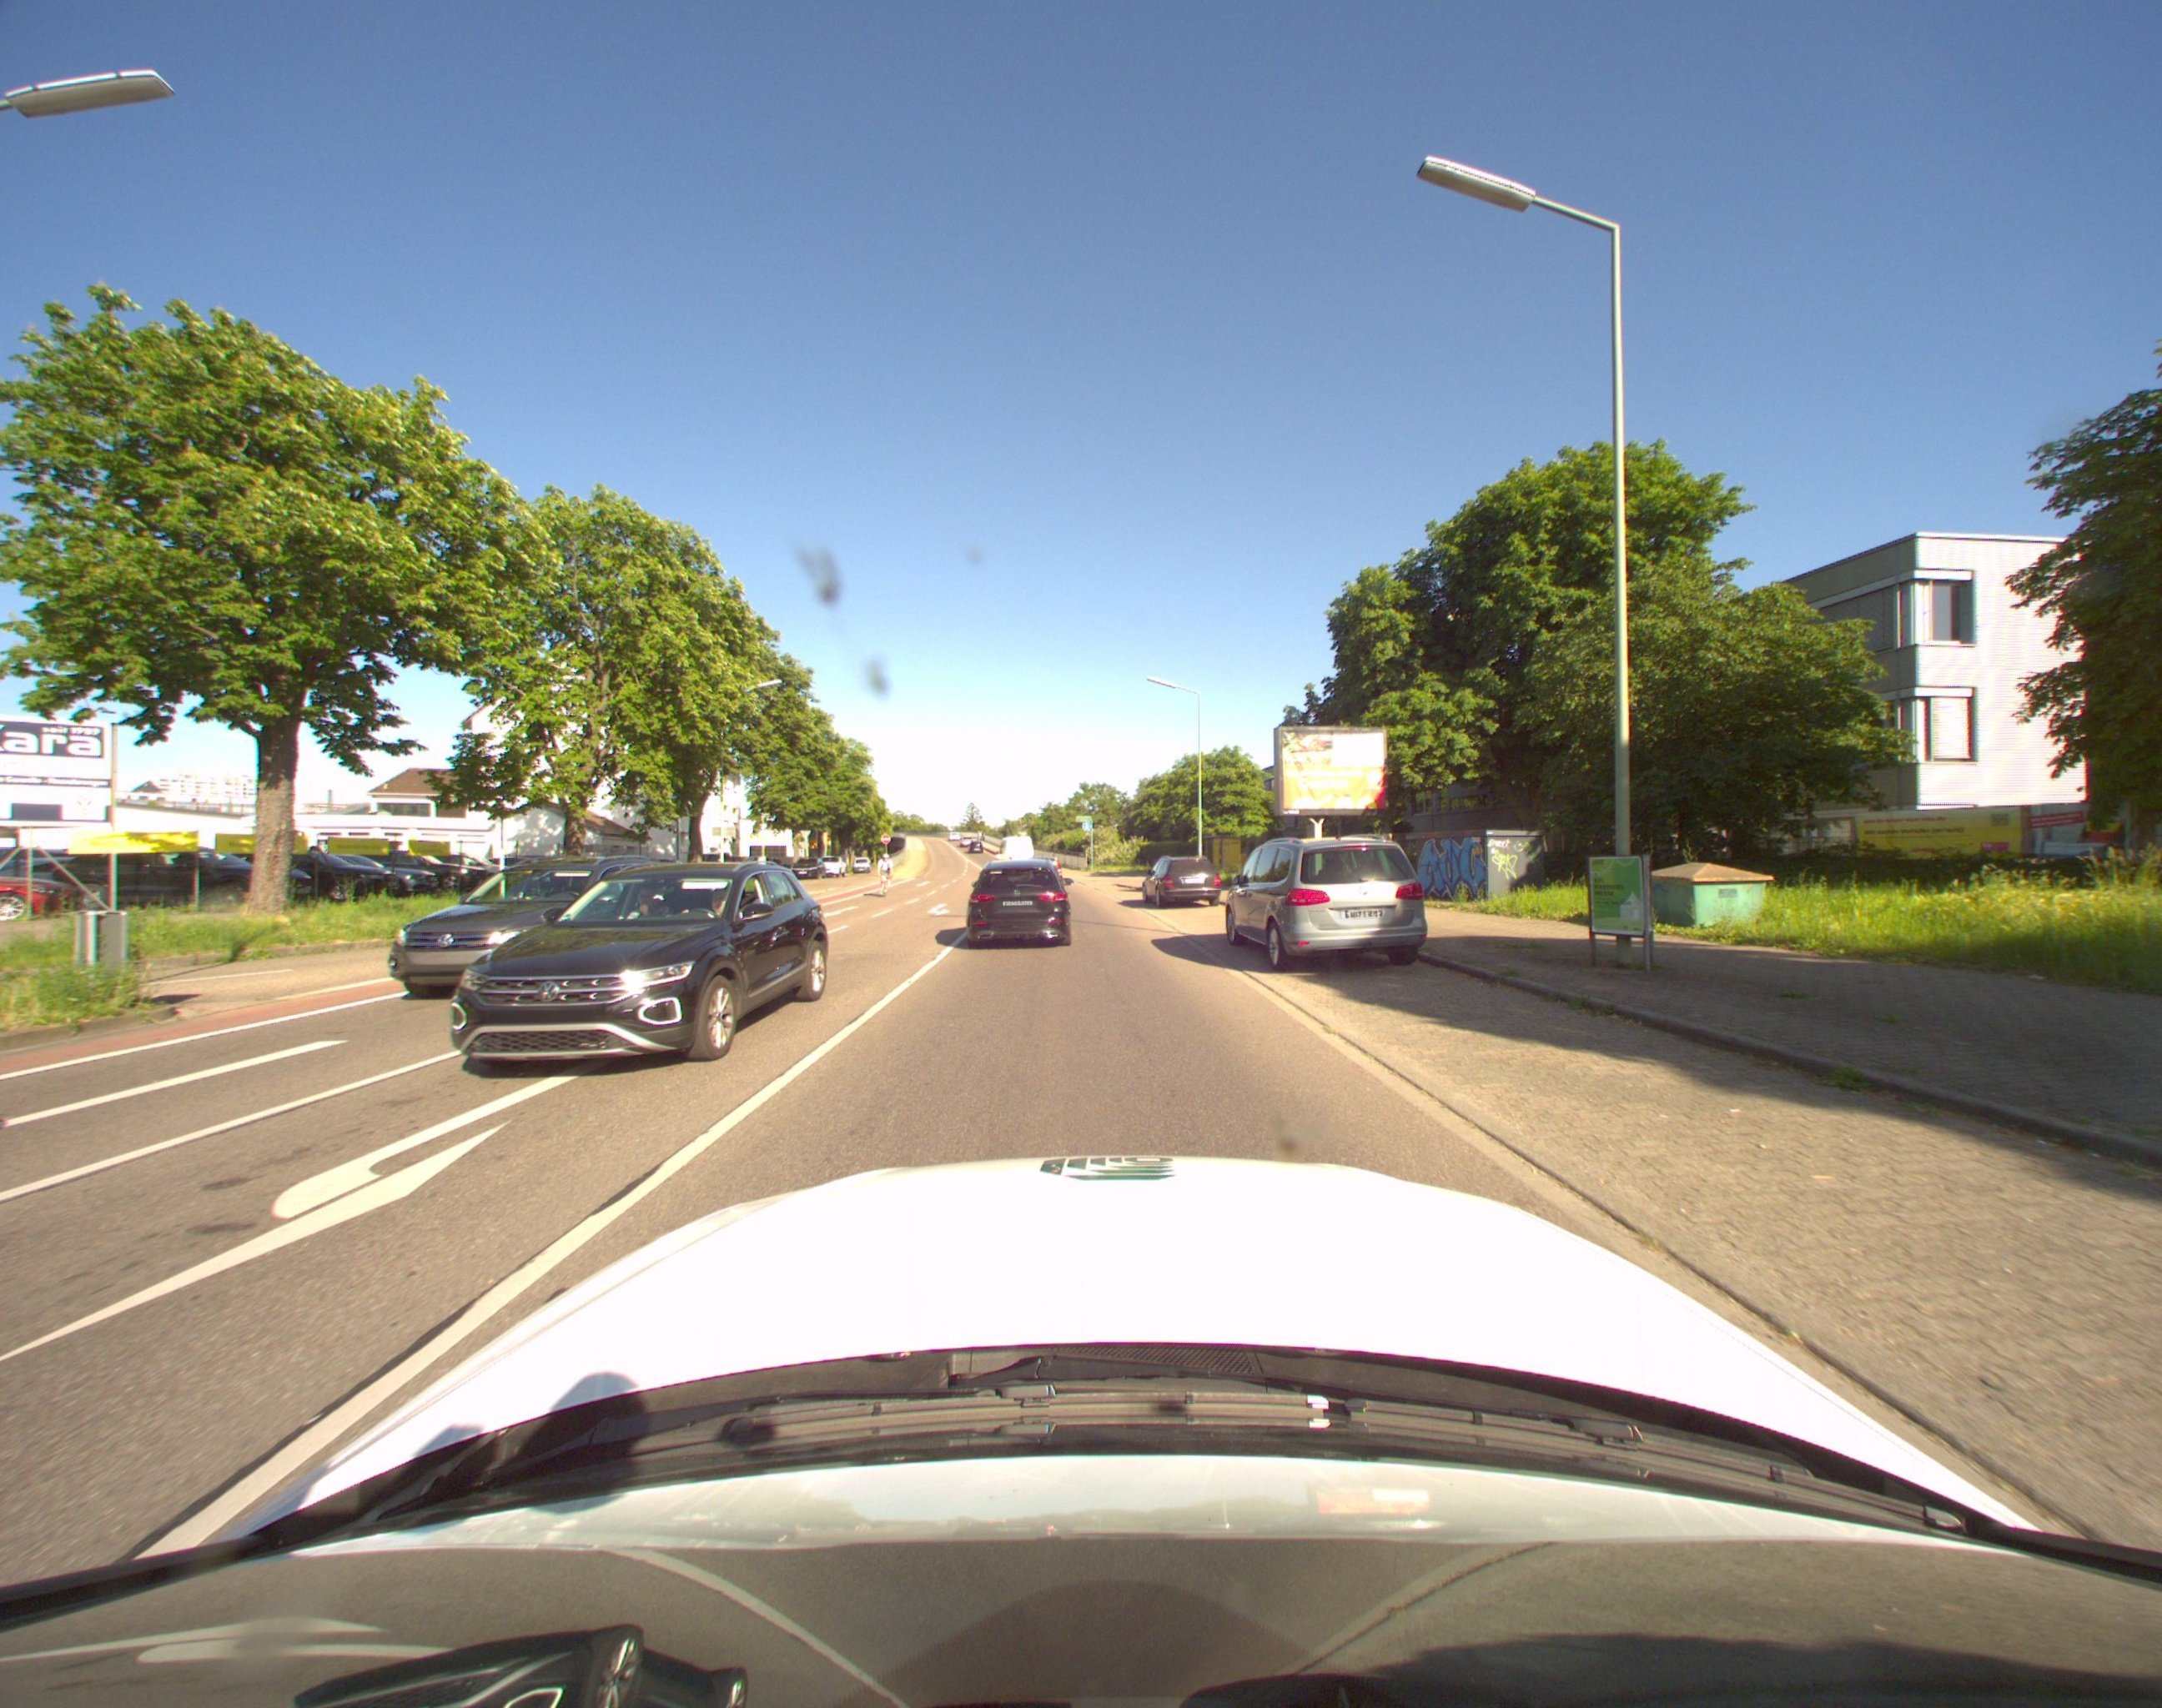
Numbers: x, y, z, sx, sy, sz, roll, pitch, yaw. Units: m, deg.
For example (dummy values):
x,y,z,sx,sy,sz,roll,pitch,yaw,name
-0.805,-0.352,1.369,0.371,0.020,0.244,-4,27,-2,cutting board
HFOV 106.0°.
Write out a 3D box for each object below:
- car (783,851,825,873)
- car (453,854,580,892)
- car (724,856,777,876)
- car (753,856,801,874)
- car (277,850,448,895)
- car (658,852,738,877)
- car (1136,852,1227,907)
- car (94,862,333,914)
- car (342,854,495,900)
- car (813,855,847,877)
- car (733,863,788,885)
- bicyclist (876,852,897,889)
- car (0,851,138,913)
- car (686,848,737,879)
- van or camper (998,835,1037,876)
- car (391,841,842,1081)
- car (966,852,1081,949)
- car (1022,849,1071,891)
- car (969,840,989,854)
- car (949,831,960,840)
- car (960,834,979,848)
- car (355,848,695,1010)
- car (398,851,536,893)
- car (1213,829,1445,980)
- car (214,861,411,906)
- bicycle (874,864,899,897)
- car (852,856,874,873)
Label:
x,y,z,sx,sy,sz,roll,pitch,yaw,name
-19.422,0.517,57.330,2.037,1.464,4.945,0,0,-10,car
-25.015,0.800,36.315,4.418,1.575,1.798,0,0,-27,car
-26.784,0.940,66.071,3.686,1.510,1.765,0,0,-37,car
-27.774,1.029,74.470,4.009,1.584,1.887,0,0,-17,car
-24.058,0.578,27.472,3.884,1.412,1.932,0,0,-23,car
-22.759,0.606,48.527,3.992,1.429,1.899,0,-1,-14,car
2.886,0.681,24.304,1.805,1.419,4.417,-2,0,-4,car
-23.347,0.874,22.153,3.939,1.240,2.027,0,0,-25,car
-24.435,0.799,30.221,4.006,1.560,1.984,0,0,-25,car
-20.101,0.948,65.406,2.038,1.729,5.216,0,0,-11,car
-27.146,1.668,69.038,4.014,1.597,1.980,-2,1,-32,car
-8.038,0.669,33.727,0.772,1.485,0.823,0,0,-10,bicyclist
-24.618,0.600,17.641,5.084,1.310,2.334,0,1,-38,car
-24.844,0.611,54.942,1.746,1.930,5.087,0,0,-9,car
-4.561,0.052,57.503,2.225,2.739,7.059,0,0,-8,van or camper
-3.738,0.729,7.530,1.907,1.599,3.998,-1,0,-1,car
-0.943,0.769,15.328,1.763,1.592,3.990,0,0,1,car
-1.364,0.642,33.441,1.798,1.640,4.000,0,-1,0,car
-12.318,-0.837,98.752,1.912,1.488,4.269,-1,-1,0,car
-21.682,-3.167,139.728,1.876,1.543,3.989,0,0,-8,car
-15.497,-1.794,113.426,1.987,1.680,3.999,-2,-1,0,car
-7.063,0.795,11.026,1.849,1.735,4.265,0,1,-4,car
-24.739,0.690,32.982,3.997,1.610,1.911,0,0,-18,car
3.343,0.607,12.041,1.868,1.722,4.609,-2,0,-1,car
-23.385,0.850,25.018,3.939,1.240,2.027,0,0,-25,car
-8.023,1.058,33.653,0.793,1.226,3.202,0,0,-10,bicycle
-26.803,1.256,100.209,1.921,1.991,4.247,0,0,-7,car
